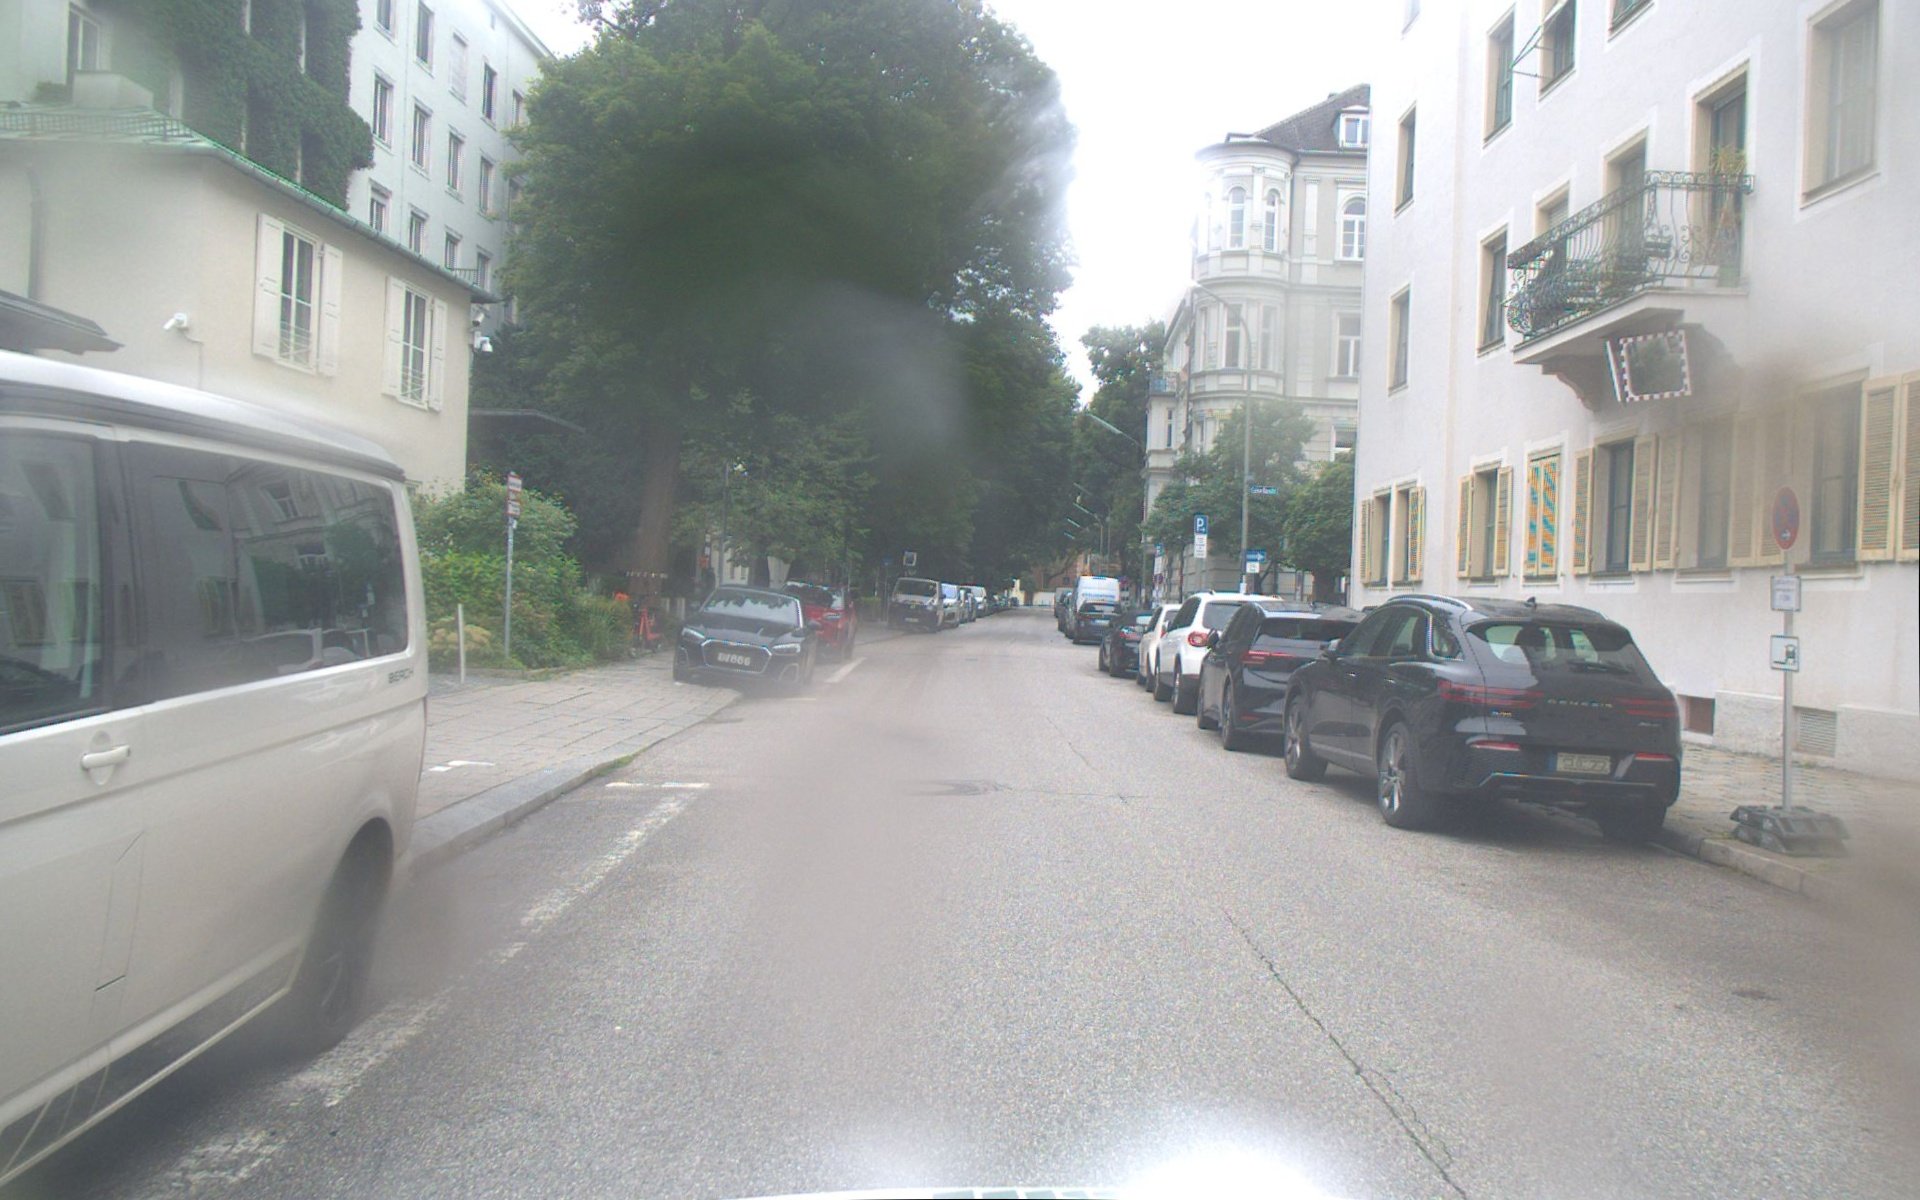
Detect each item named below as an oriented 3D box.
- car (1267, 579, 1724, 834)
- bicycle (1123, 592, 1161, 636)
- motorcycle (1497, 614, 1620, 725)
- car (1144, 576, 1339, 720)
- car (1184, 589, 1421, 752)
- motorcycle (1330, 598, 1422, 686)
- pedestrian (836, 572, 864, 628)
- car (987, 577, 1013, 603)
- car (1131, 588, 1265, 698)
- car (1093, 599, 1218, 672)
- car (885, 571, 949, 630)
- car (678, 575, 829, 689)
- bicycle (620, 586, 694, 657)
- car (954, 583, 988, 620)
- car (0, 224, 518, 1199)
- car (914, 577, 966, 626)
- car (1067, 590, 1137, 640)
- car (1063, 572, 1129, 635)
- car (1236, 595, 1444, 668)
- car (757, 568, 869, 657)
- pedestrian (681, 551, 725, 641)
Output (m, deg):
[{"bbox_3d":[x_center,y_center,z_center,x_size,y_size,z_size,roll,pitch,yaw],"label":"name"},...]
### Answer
[{"bbox_3d":[3.915,0.673,13.104,1.823,1.604,4.897,1,0,-3],"label":"car"},{"bbox_3d":[6.797,0.514,61.865,0.695,1.542,2.031,2,0,-14],"label":"bicycle"},{"bbox_3d":[7.496,0.840,20.810,0.717,1.260,2.007,3,0,-1],"label":"motorcycle"},{"bbox_3d":[3.923,0.620,23.844,1.953,1.736,4.534,4,0,0],"label":"car"},{"bbox_3d":[3.677,0.685,18.540,1.800,1.558,4.416,1,0,1],"label":"car"},{"bbox_3d":[7.410,0.710,29.601,0.840,1.458,2.706,2,0,-1],"label":"motorcycle"},{"bbox_3d":[-3.223,0.001,48.340,0.699,1.575,0.752,4,0,-3],"label":"pedestrian"},{"bbox_3d":[3.551,-0.880,147.180,2.006,2.192,4.313,4,0,0],"label":"car"},{"bbox_3d":[4.019,0.692,28.466,1.735,1.572,3.712,7,0,2],"label":"car"},{"bbox_3d":[3.860,0.661,33.344,1.959,1.342,4.595,0,0,0],"label":"car"},{"bbox_3d":[-1.569,0.019,62.545,2.202,1.990,5.453,4,0,0],"label":"car"},{"bbox_3d":[-2.966,0.417,24.656,1.771,1.426,4.921,4,0,-3],"label":"car"},{"bbox_3d":[-5.162,0.347,28.306,0.635,1.150,2.049,2,0,7],"label":"bicycle"},{"bbox_3d":[0.737,0.074,107.232,1.961,2.224,4.697,4,0,2],"label":"car"},{"bbox_3d":[-2.644,0.326,3.881,1.927,2.025,5.149,4,0,-3],"label":"car"},{"bbox_3d":[-0.862,0.070,74.252,2.139,1.990,5.166,4,0,0],"label":"car"},{"bbox_3d":[4.751,0.486,55.468,2.225,1.573,4.589,1,0,4],"label":"car"},{"bbox_3d":[5.082,0.123,62.428,2.158,2.247,4.855,1,0,1],"label":"car"},{"bbox_3d":[9.598,0.781,42.013,4.806,1.558,1.913,2,3,0],"label":"car"},{"bbox_3d":[-2.984,0.236,34.392,1.849,1.618,4.527,4,0,0],"label":"car"},{"bbox_3d":[-5.544,-0.087,35.713,0.698,1.884,0.797,3,0,0],"label":"pedestrian"}]
